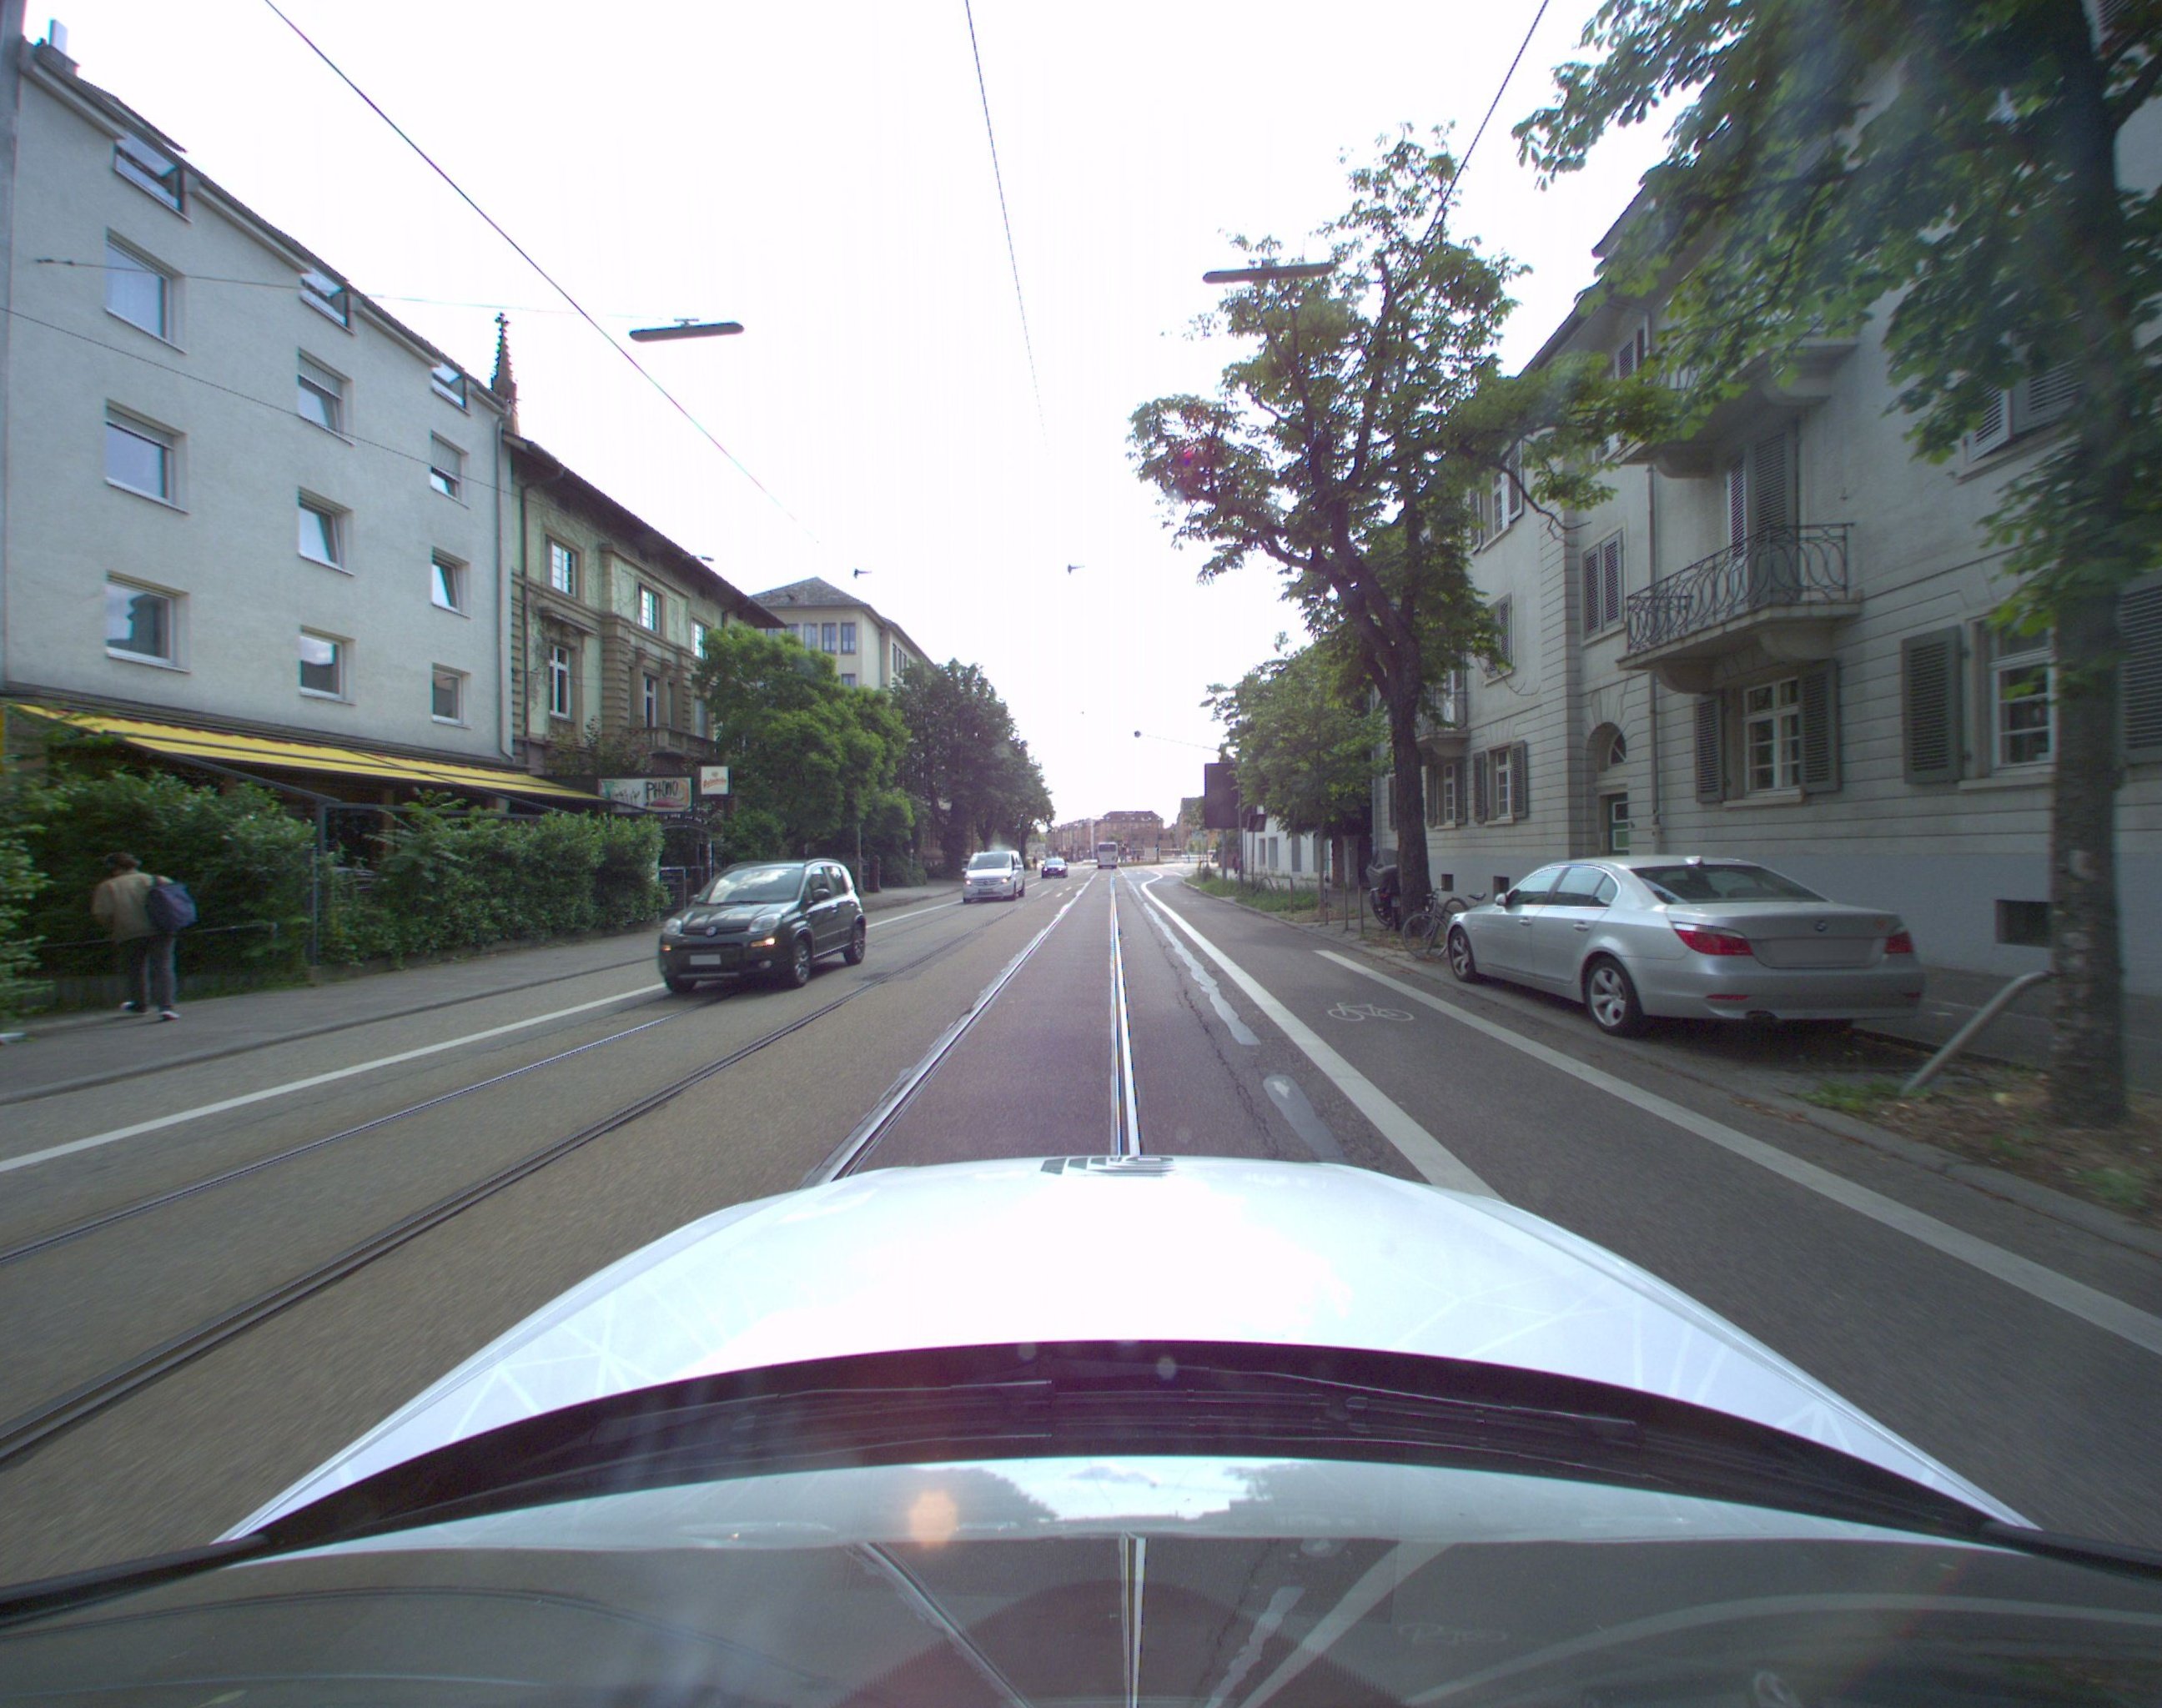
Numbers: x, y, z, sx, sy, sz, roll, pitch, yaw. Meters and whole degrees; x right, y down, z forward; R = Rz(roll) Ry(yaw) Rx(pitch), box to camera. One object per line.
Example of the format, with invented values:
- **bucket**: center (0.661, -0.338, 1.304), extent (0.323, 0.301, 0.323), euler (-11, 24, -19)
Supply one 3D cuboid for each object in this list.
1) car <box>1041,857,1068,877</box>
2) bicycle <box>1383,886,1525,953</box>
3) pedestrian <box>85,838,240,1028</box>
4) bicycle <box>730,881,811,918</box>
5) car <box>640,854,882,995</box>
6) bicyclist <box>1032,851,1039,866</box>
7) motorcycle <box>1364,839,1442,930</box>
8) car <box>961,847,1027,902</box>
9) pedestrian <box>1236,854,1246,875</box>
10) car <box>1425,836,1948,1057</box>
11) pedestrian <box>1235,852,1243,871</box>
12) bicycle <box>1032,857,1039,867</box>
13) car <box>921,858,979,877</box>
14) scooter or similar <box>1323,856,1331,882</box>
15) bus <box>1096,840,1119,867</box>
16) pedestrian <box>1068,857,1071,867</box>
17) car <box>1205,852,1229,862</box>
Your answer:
- **car**: center (-1.949, 0.959, 60.510), extent (1.682, 1.402, 3.932), euler (-2, 0, 2)
- **bicycle**: center (5.454, 0.948, 11.980), extent (1.768, 0.903, 0.692), euler (-1, 0, 4)
- **pedestrian**: center (-10.038, 0.802, 8.910), extent (0.819, 1.917, 1.069), euler (-1, -1, 38)
- **bicycle**: center (-9.240, 1.338, 24.414), extent (1.138, 0.909, 2.990), euler (2, 0, 2)
- **car**: center (-4.065, 0.809, 11.056), extent (1.625, 1.556, 3.823), euler (-1, -1, 2)
- **bicyclist**: center (-4.820, 0.464, 85.836), extent (0.689, 1.519, 0.867), euler (-2, 0, -1)
- **motorcycle**: center (5.863, 0.520, 15.001), extent (0.973, 1.542, 2.449), euler (-1, 0, 13)
- **car**: center (-3.284, 0.728, 31.691), extent (1.891, 1.907, 5.384), euler (-1, 0, 1)
- **pedestrian**: center (13.344, 0.862, 67.977), extent (0.682, 1.724, 0.747), euler (-3, 1, 1)
- **car**: center (5.194, 0.645, 8.029), extent (1.700, 1.498, 4.791), euler (-1, 0, 2)
- **pedestrian**: center (13.451, 0.667, 69.398), extent (0.519, 1.580, 0.547), euler (-3, 1, -8)
- **bicycle**: center (-4.808, 0.846, 85.832), extent (0.697, 1.017, 1.818), euler (-2, 0, -1)
- **car**: center (-10.384, 1.053, 64.739), extent (4.249, 1.447, 1.779), euler (-1, 0, -26)
- **scooter or similar**: center (11.642, 0.696, 38.510), extent (0.320, 1.181, 1.152), euler (-1, 0, 15)
- **bus**: center (3.450, 0.008, 107.109), extent (2.907, 3.328, 12.209), euler (0, -1, 1)
- **pedestrian**: center (-2.225, 1.548, 157.011), extent (0.608, 1.885, 0.794), euler (-1, 0, 3)
- **car**: center (24.173, 0.557, 144.526), extent (4.122, 1.684, 2.112), euler (0, 1, -39)
